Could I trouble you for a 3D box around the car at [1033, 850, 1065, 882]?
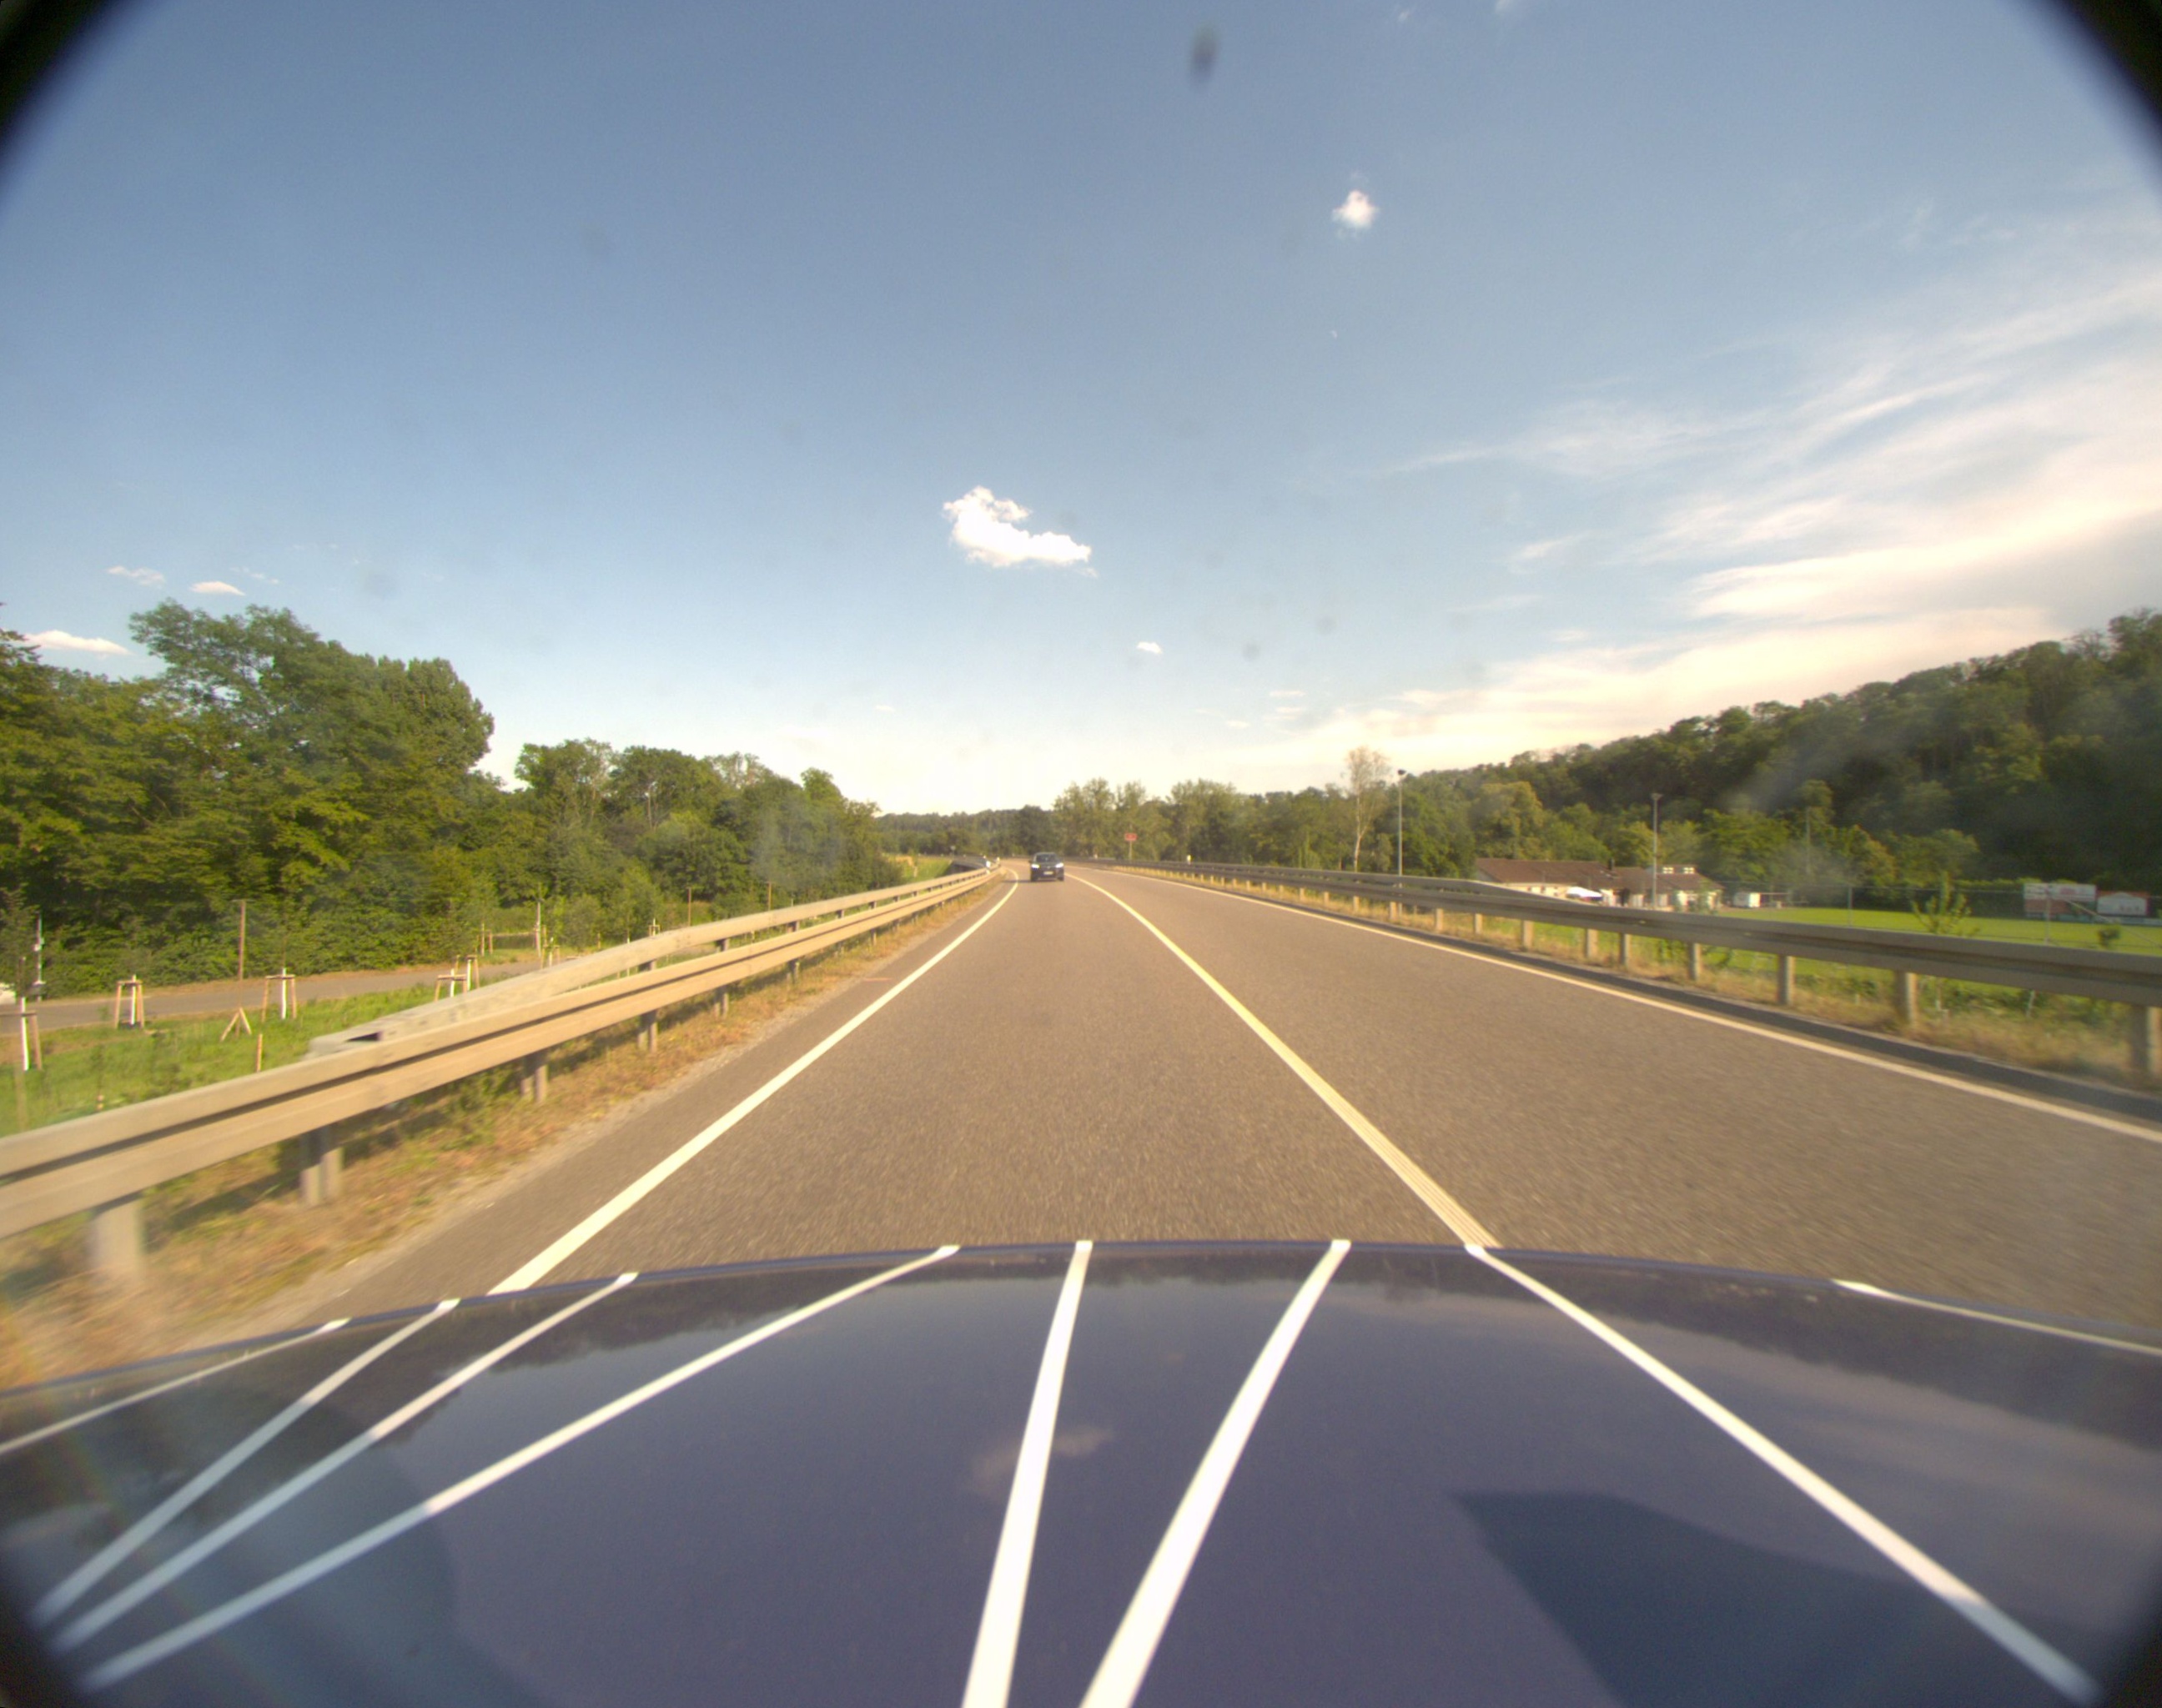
[{"bbox_3d":[-1.866,0.626,43.782,1.751,1.645,4.304,-1,1,-3],"label":"car"}]
